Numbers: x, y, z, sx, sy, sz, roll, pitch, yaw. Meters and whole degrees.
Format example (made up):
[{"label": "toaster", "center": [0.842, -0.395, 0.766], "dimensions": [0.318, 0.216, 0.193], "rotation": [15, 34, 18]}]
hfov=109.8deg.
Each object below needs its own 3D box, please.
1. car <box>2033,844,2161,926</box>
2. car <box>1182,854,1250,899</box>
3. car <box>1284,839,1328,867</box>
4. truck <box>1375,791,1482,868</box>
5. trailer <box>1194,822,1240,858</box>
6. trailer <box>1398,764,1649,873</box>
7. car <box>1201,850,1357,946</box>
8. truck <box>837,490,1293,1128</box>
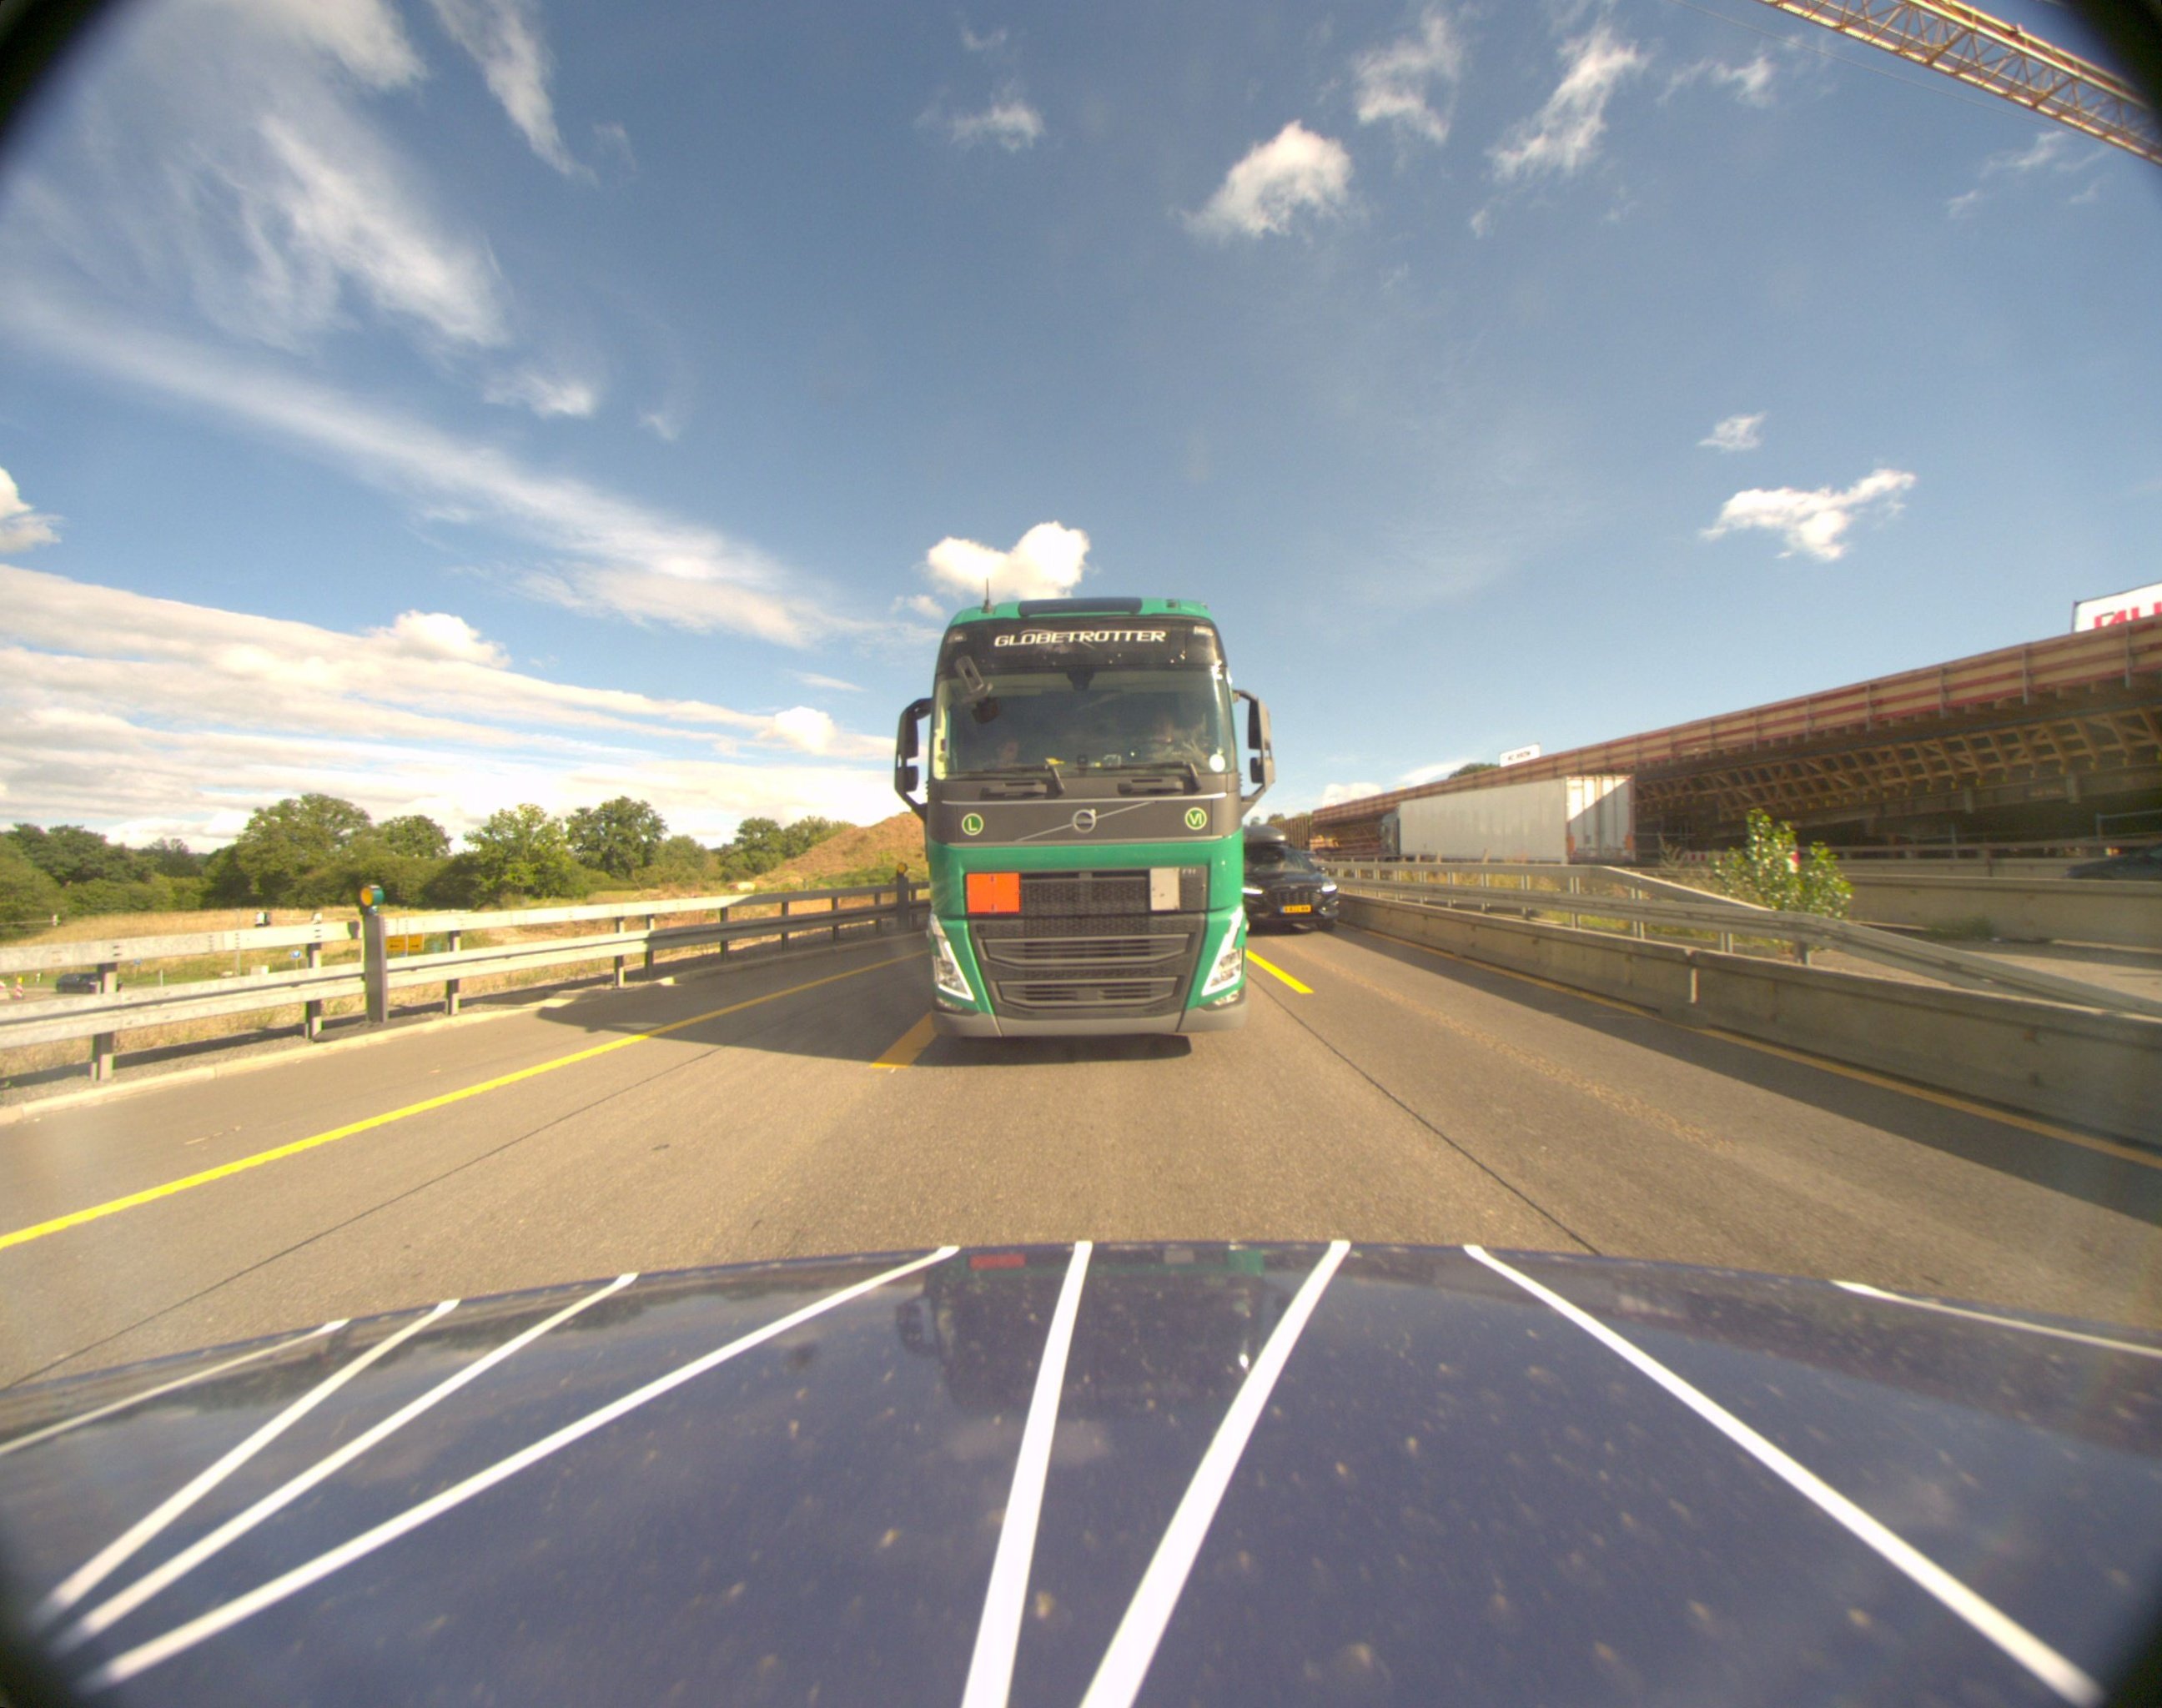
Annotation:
[{"label": "car", "center": [18.674, 0.520, 12.179], "dimensions": [1.924, 1.265, 4.000], "rotation": [-2, 1, 4]}, {"label": "car", "center": [5.089, 0.797, 29.237], "dimensions": [1.948, 1.422, 4.504], "rotation": [-3, 1, 3]}, {"label": "car", "center": [15.314, -0.093, 51.995], "dimensions": [1.998, 1.716, 4.123], "rotation": [-2, 1, 4]}, {"label": "truck", "center": [18.603, -1.262, 41.129], "dimensions": [2.784, 3.766, 6.016], "rotation": [-2, 1, -1]}, {"label": "trailer", "center": [17.051, -1.724, 96.335], "dimensions": [2.695, 4.132, 13.807], "rotation": [-2, 1, -2]}, {"label": "trailer", "center": [18.793, -1.371, 34.224], "dimensions": [2.828, 3.819, 13.799], "rotation": [-2, 1, -2]}, {"label": "car", "center": [3.772, 0.748, 15.282], "dimensions": [1.804, 1.533, 4.382], "rotation": [-2, 1, -2]}, {"label": "truck", "center": [0.131, -0.314, 9.845], "dimensions": [2.663, 3.825, 10.317], "rotation": [-2, 1, 3]}]
